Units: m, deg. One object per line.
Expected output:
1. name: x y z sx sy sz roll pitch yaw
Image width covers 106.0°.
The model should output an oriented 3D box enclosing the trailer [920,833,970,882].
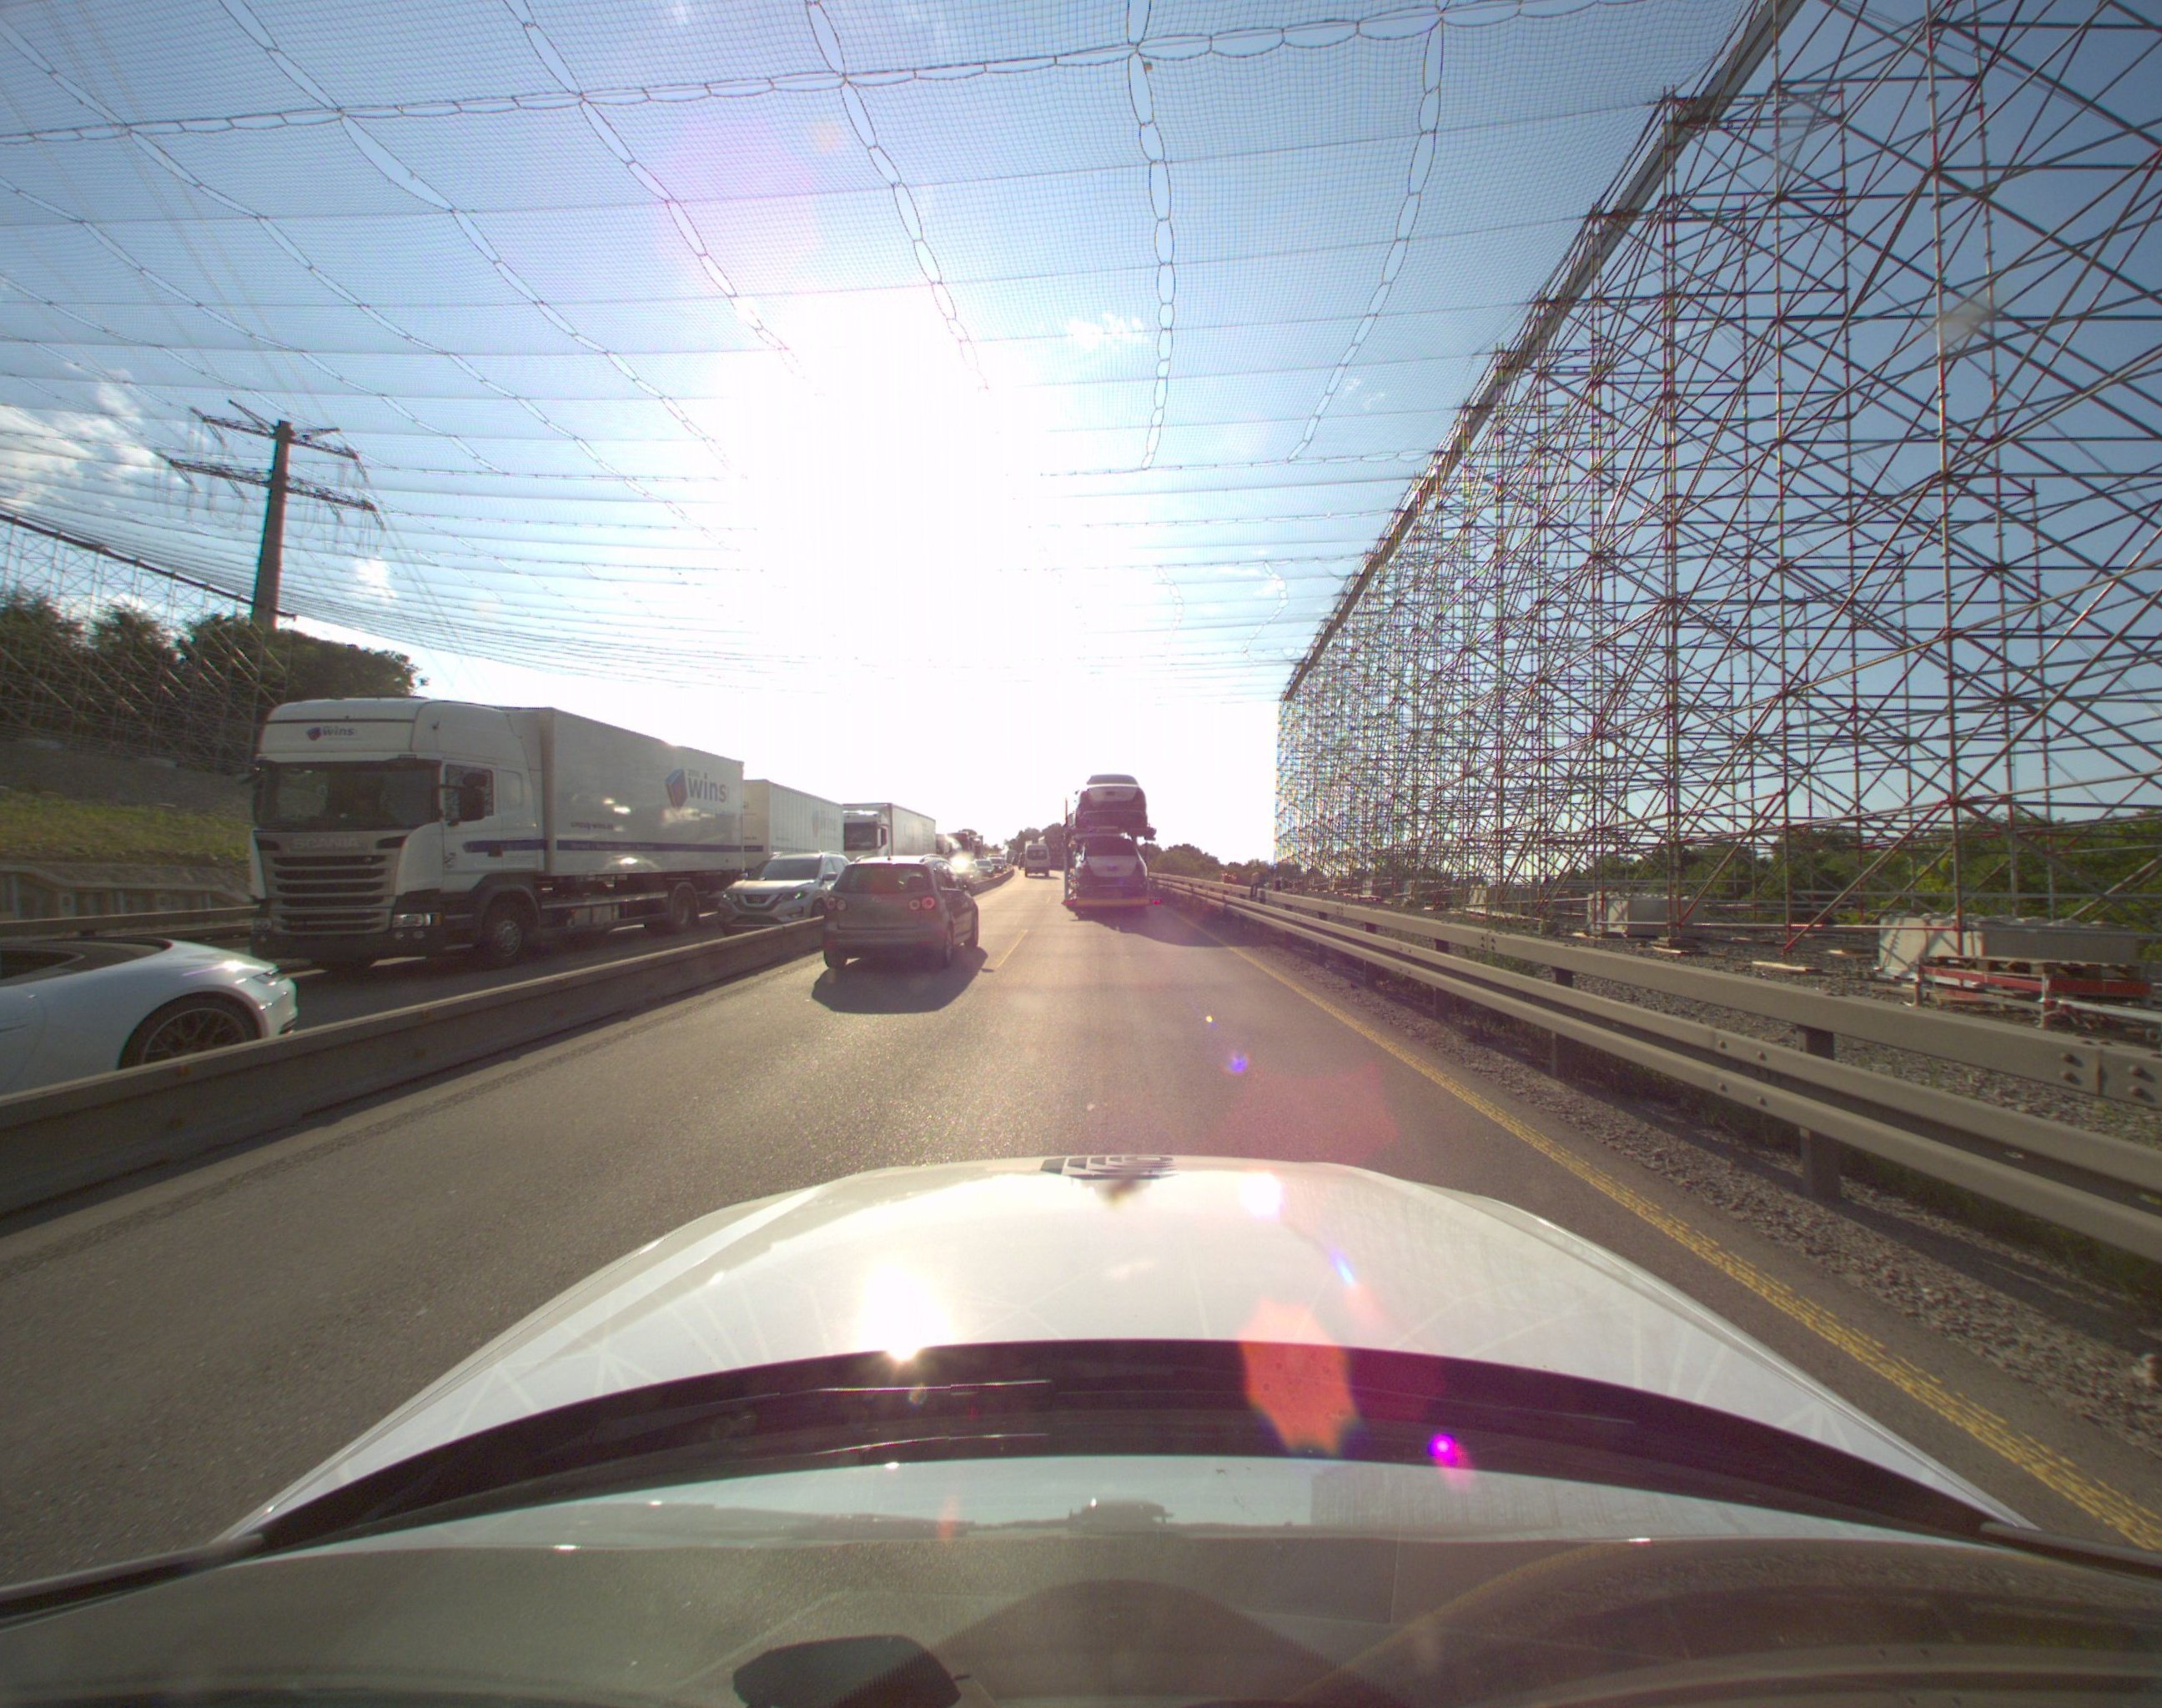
1. trailer: -10.239 0.282 62.618 2.301 3.362 12.040 0 -1 -2

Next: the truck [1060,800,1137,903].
1. truck: 0.638 -0.060 35.236 2.829 3.792 9.984 0 -1 0

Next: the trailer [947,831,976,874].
1. trailer: -11.514 -0.070 79.147 2.304 3.790 12.026 0 -1 -6

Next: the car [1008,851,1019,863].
1. car: -11.787 0.514 142.022 1.628 2.014 3.990 0 -1 -7

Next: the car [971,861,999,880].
1. car: -7.117 1.222 60.999 1.789 1.398 4.239 0 -1 -3

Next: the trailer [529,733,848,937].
1. trailer: -9.658 -0.328 22.767 2.662 4.016 13.326 0 -1 -1

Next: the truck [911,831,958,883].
1. truck: -9.995 0.209 56.146 2.408 3.370 5.612 0 -1 -3

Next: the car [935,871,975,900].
1. car: -6.489 1.583 42.267 1.603 1.376 3.897 0 -1 -2

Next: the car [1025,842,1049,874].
1. car: -3.596 0.354 67.066 1.916 2.492 5.402 0 -1 -3

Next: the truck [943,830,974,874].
1. truck: -10.954 -0.127 73.153 2.428 3.785 5.607 0 -1 -5

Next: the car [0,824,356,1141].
1. car: -6.244 0.641 3.812 1.803 1.568 4.364 0 -1 -1

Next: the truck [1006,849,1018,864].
1. truck: -15.809 0.575 186.200 2.588 3.170 6.660 0 -1 -7

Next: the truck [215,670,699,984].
1. truck: -9.478 -0.321 13.783 2.622 3.910 7.203 0 -1 0

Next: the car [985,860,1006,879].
1. car: -7.613 1.359 72.800 1.748 1.587 3.936 0 -1 -5

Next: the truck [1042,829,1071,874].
1. truck: -3.156 -0.244 101.376 3.279 5.237 9.922 0 -1 -3

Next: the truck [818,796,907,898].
1. truck: -9.266 -0.254 35.134 2.467 4.046 5.612 0 -1 -2

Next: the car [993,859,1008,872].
1. car: -8.810 1.268 89.256 1.625 1.426 4.379 0 -1 -5

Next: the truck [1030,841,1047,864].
1. truck: -7.020 -0.252 132.678 2.526 3.648 8.891 0 -1 -4

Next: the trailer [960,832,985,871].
1. trailer: -12.560 -0.239 94.894 2.473 4.328 10.488 0 -1 -6

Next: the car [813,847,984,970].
1. car: -2.624 0.731 12.642 1.686 1.596 4.000 0 -1 1

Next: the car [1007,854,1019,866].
1. car: -10.297 0.838 122.883 1.823 1.772 3.993 0 -1 -5

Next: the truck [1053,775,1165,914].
1. truck: 0.693 -0.192 25.827 2.790 3.497 10.602 0 -1 0

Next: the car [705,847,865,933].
1. car: -6.036 0.688 17.199 1.803 1.568 4.364 0 -1 -1

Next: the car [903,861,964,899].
1. car: -6.039 1.023 33.753 1.772 1.450 4.660 0 -1 -1

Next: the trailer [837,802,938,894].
1. trailer: -9.575 -0.203 42.142 2.422 3.963 14.084 0 -1 -2
